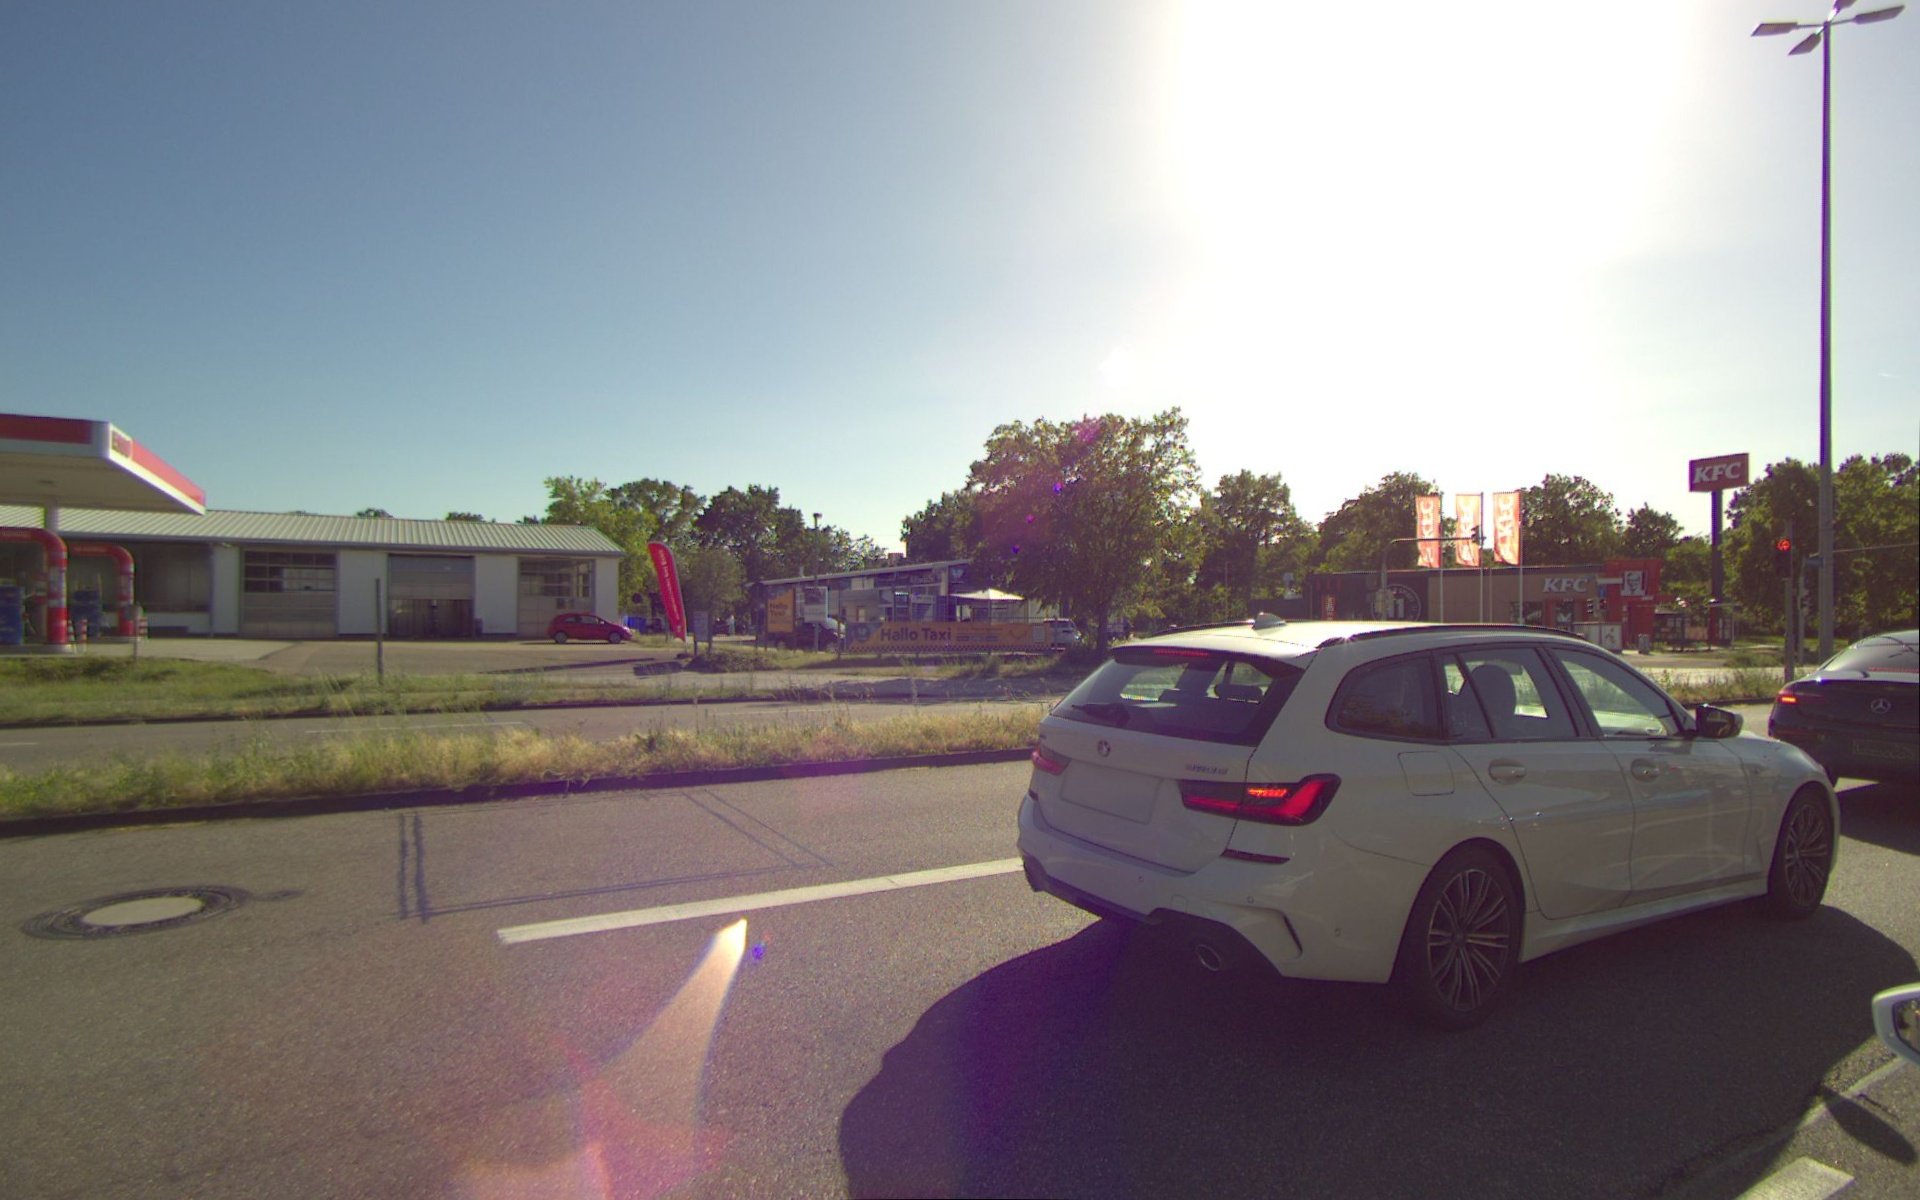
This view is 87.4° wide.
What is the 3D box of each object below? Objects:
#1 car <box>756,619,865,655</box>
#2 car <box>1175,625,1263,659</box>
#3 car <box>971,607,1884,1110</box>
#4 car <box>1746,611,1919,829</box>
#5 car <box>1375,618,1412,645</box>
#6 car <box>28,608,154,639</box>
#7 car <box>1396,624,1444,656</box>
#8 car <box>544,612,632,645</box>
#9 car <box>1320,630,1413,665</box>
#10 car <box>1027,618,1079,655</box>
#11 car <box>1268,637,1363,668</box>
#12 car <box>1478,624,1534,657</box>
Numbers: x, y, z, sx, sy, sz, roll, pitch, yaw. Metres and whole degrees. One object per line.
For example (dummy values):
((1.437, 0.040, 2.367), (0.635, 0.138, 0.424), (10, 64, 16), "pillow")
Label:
((-5.833, 1.423, 39.088), (3.930, 1.193, 1.774), (2, 0, 31), "car")
((13.955, 2.239, 54.449), (1.914, 1.600, 4.599), (2, 0, -31), "car")
((2.461, 0.823, 4.950), (4.541, 1.506, 1.804), (1, -1, -30), "car")
((8.850, 0.925, 8.644), (4.491, 1.572, 1.803), (1, 0, -31), "car")
((31.528, 2.296, 73.182), (1.960, 1.837, 3.774), (2, 0, 16), "car")
((-36.348, 0.979, 42.132), (3.688, 1.203, 1.667), (2, 0, -30), "car")
((28.055, 2.411, 61.392), (1.896, 1.763, 4.099), (2, 0, 14), "car")
((-18.273, 1.389, 49.340), (3.949, 1.491, 1.521), (2, 0, -24), "car")
((20.115, 2.335, 49.883), (1.913, 1.472, 3.935), (2, 0, -30), "car")
((4.160, 1.570, 44.523), (1.959, 1.461, 4.002), (2, 0, 9), "car")
((17.022, 2.485, 48.231), (1.850, 1.268, 4.062), (2, 0, -31), "car")
((32.695, 2.386, 60.242), (1.896, 1.763, 4.099), (2, 0, 14), "car")
